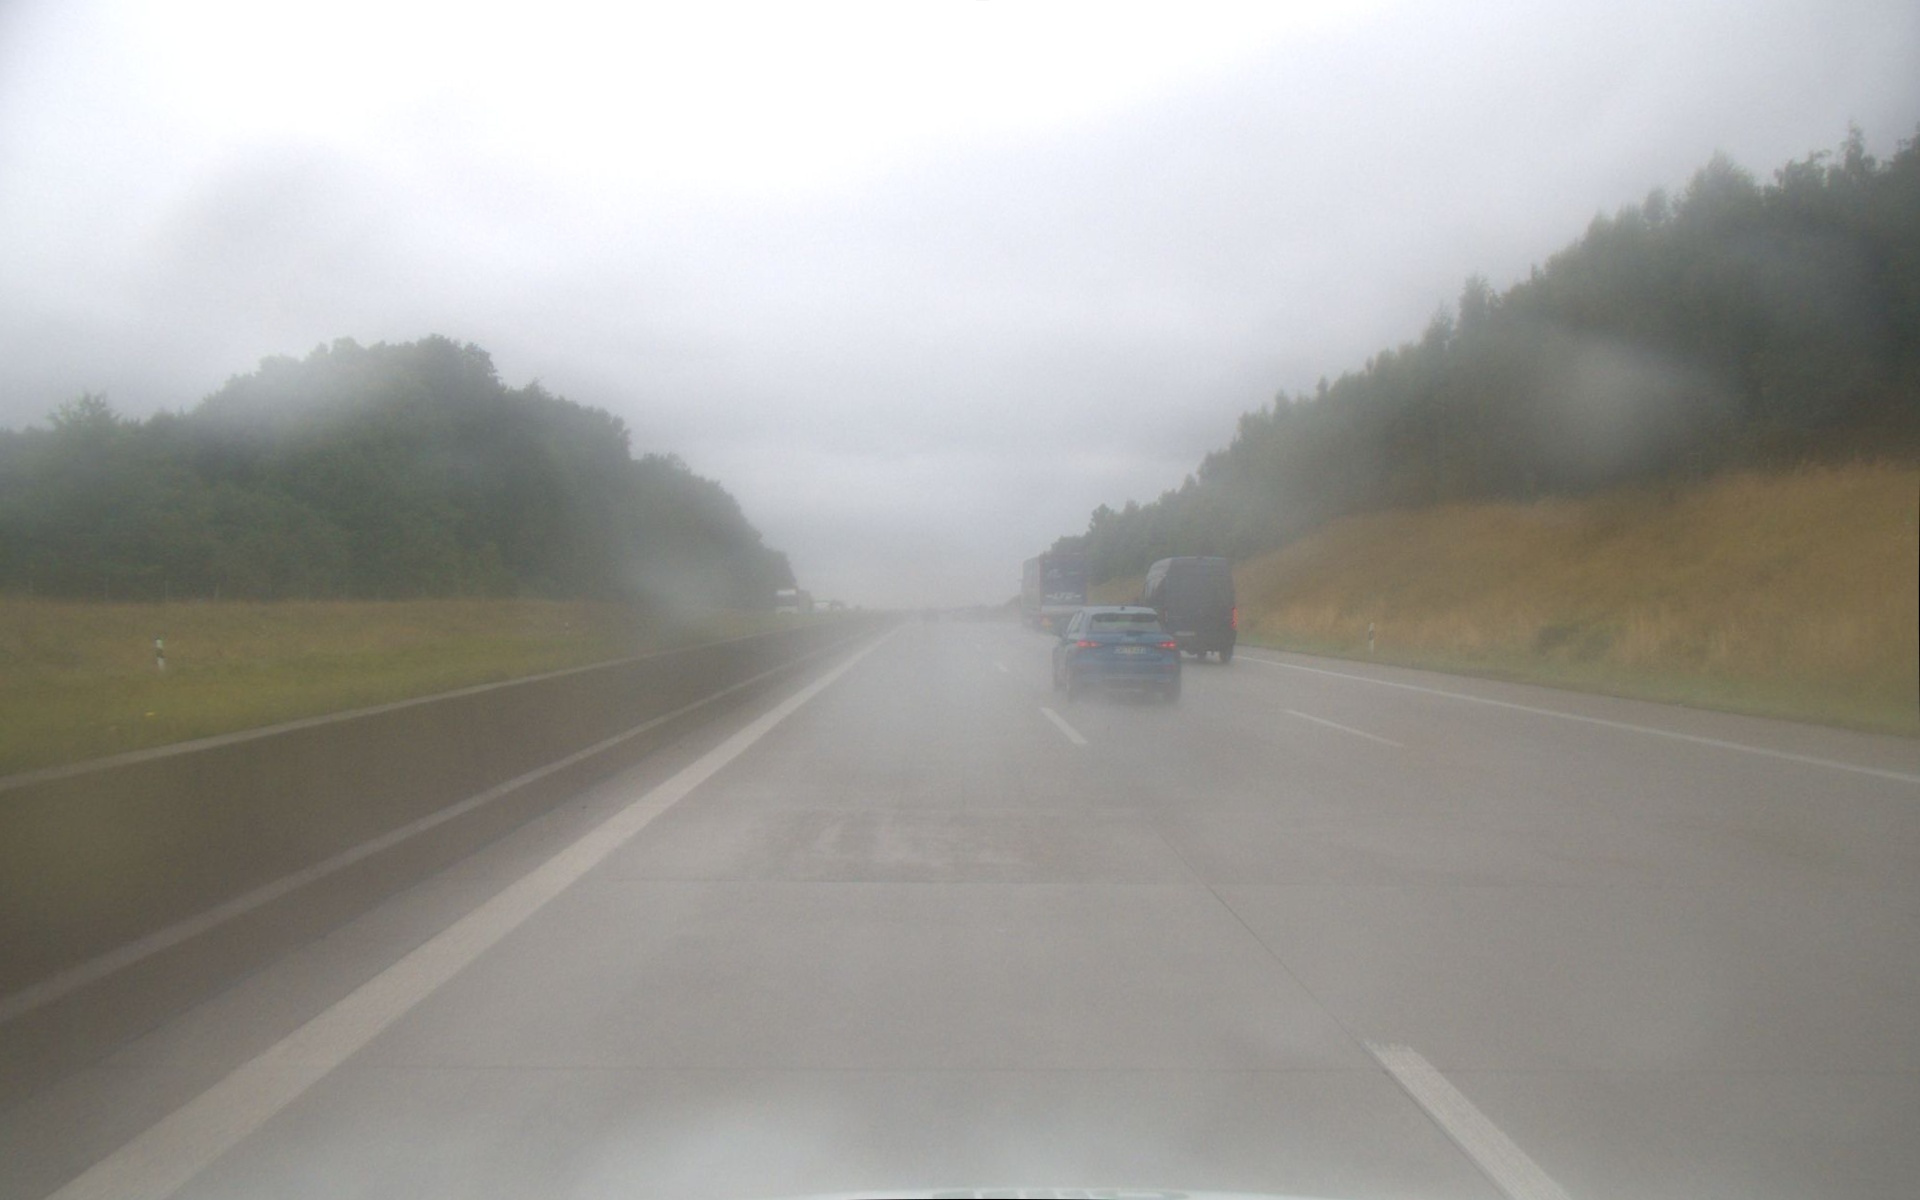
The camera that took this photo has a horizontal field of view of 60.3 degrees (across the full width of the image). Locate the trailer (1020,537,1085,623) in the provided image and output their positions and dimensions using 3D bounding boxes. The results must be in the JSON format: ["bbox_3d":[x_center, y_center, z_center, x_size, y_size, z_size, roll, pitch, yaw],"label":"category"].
[{"bbox_3d":[5.185,-0.964,95.245,2.651,4.456,15.200,1,-1,-1],"label":"trailer"}]

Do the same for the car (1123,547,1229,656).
[{"bbox_3d":[5.750,0.056,44.810,1.901,2.705,6.585,1,0,-1],"label":"car"}]

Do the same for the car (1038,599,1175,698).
[{"bbox_3d":[2.327,0.799,27.345,1.694,1.484,4.670,-1,-2,-2],"label":"car"}]

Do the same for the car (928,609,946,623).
[{"bbox_3d":[-2.243,1.510,159.924,1.694,1.354,4.428,0,0,-2],"label":"car"}]
